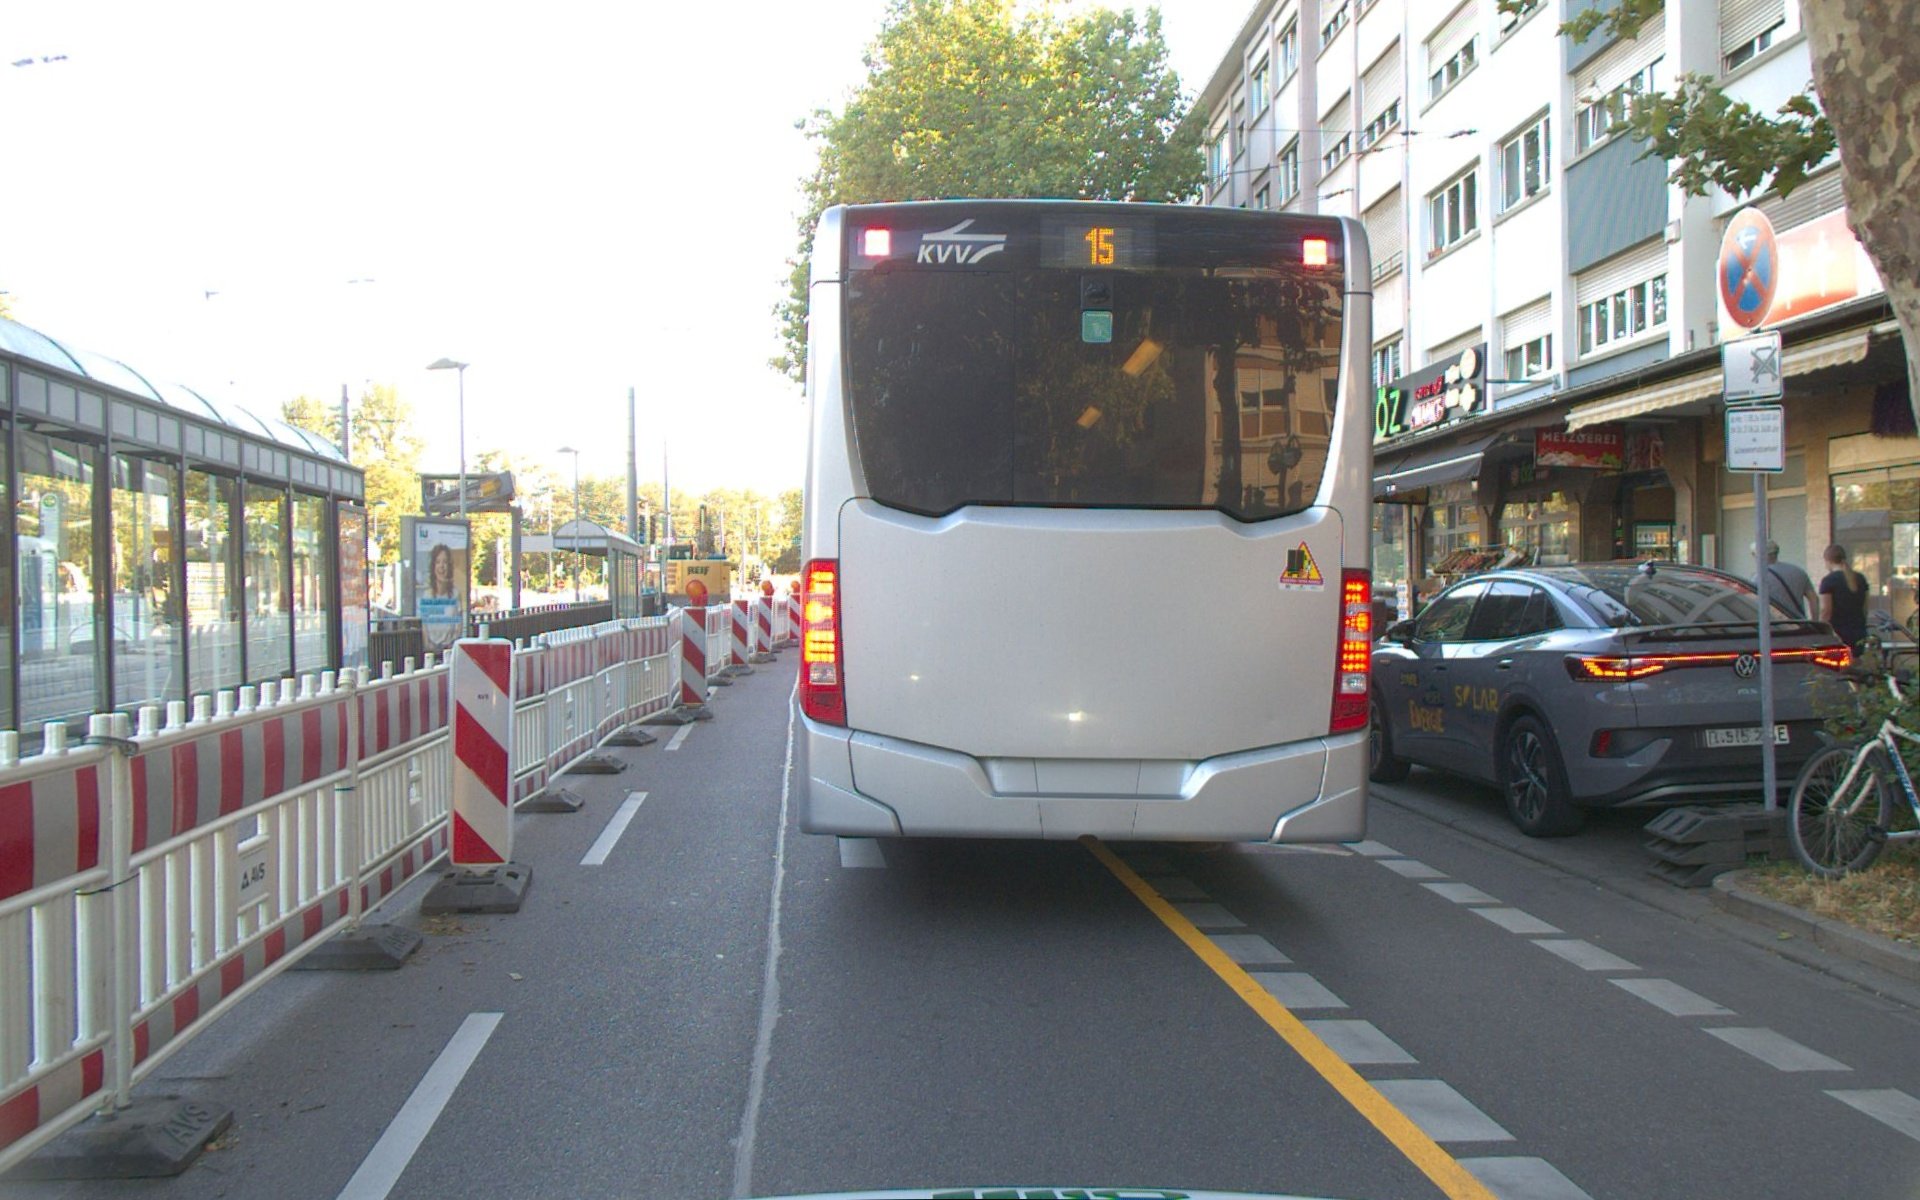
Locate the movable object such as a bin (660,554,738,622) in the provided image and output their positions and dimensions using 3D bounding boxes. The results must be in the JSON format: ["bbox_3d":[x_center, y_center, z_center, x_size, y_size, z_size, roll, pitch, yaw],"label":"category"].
[{"bbox_3d":[-10.071,-0.467,64.238,2.753,2.505,3.995,-1,0,-6],"label":"movable object such as a bin"}]

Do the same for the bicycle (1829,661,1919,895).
[{"bbox_3d":[4.253,0.790,7.045,0.289,0.943,1.128,-5,3,-11],"label":"bicycle"}]

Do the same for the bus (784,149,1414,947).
[{"bbox_3d":[0.532,-0.239,11.856,2.555,3.225,10.290,0,0,0],"label":"bus"}]

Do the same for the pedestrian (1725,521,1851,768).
[{"bbox_3d":[7.048,0.365,14.102,0.677,2.049,0.696,-1,0,-4],"label":"pedestrian"}]

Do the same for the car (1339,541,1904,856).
[{"bbox_3d":[4.127,0.513,11.189,1.706,1.625,4.294,-3,1,-6],"label":"car"}]

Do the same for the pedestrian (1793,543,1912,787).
[{"bbox_3d":[7.713,0.544,14.316,0.601,2.049,0.695,-1,0,-7],"label":"pedestrian"}]
